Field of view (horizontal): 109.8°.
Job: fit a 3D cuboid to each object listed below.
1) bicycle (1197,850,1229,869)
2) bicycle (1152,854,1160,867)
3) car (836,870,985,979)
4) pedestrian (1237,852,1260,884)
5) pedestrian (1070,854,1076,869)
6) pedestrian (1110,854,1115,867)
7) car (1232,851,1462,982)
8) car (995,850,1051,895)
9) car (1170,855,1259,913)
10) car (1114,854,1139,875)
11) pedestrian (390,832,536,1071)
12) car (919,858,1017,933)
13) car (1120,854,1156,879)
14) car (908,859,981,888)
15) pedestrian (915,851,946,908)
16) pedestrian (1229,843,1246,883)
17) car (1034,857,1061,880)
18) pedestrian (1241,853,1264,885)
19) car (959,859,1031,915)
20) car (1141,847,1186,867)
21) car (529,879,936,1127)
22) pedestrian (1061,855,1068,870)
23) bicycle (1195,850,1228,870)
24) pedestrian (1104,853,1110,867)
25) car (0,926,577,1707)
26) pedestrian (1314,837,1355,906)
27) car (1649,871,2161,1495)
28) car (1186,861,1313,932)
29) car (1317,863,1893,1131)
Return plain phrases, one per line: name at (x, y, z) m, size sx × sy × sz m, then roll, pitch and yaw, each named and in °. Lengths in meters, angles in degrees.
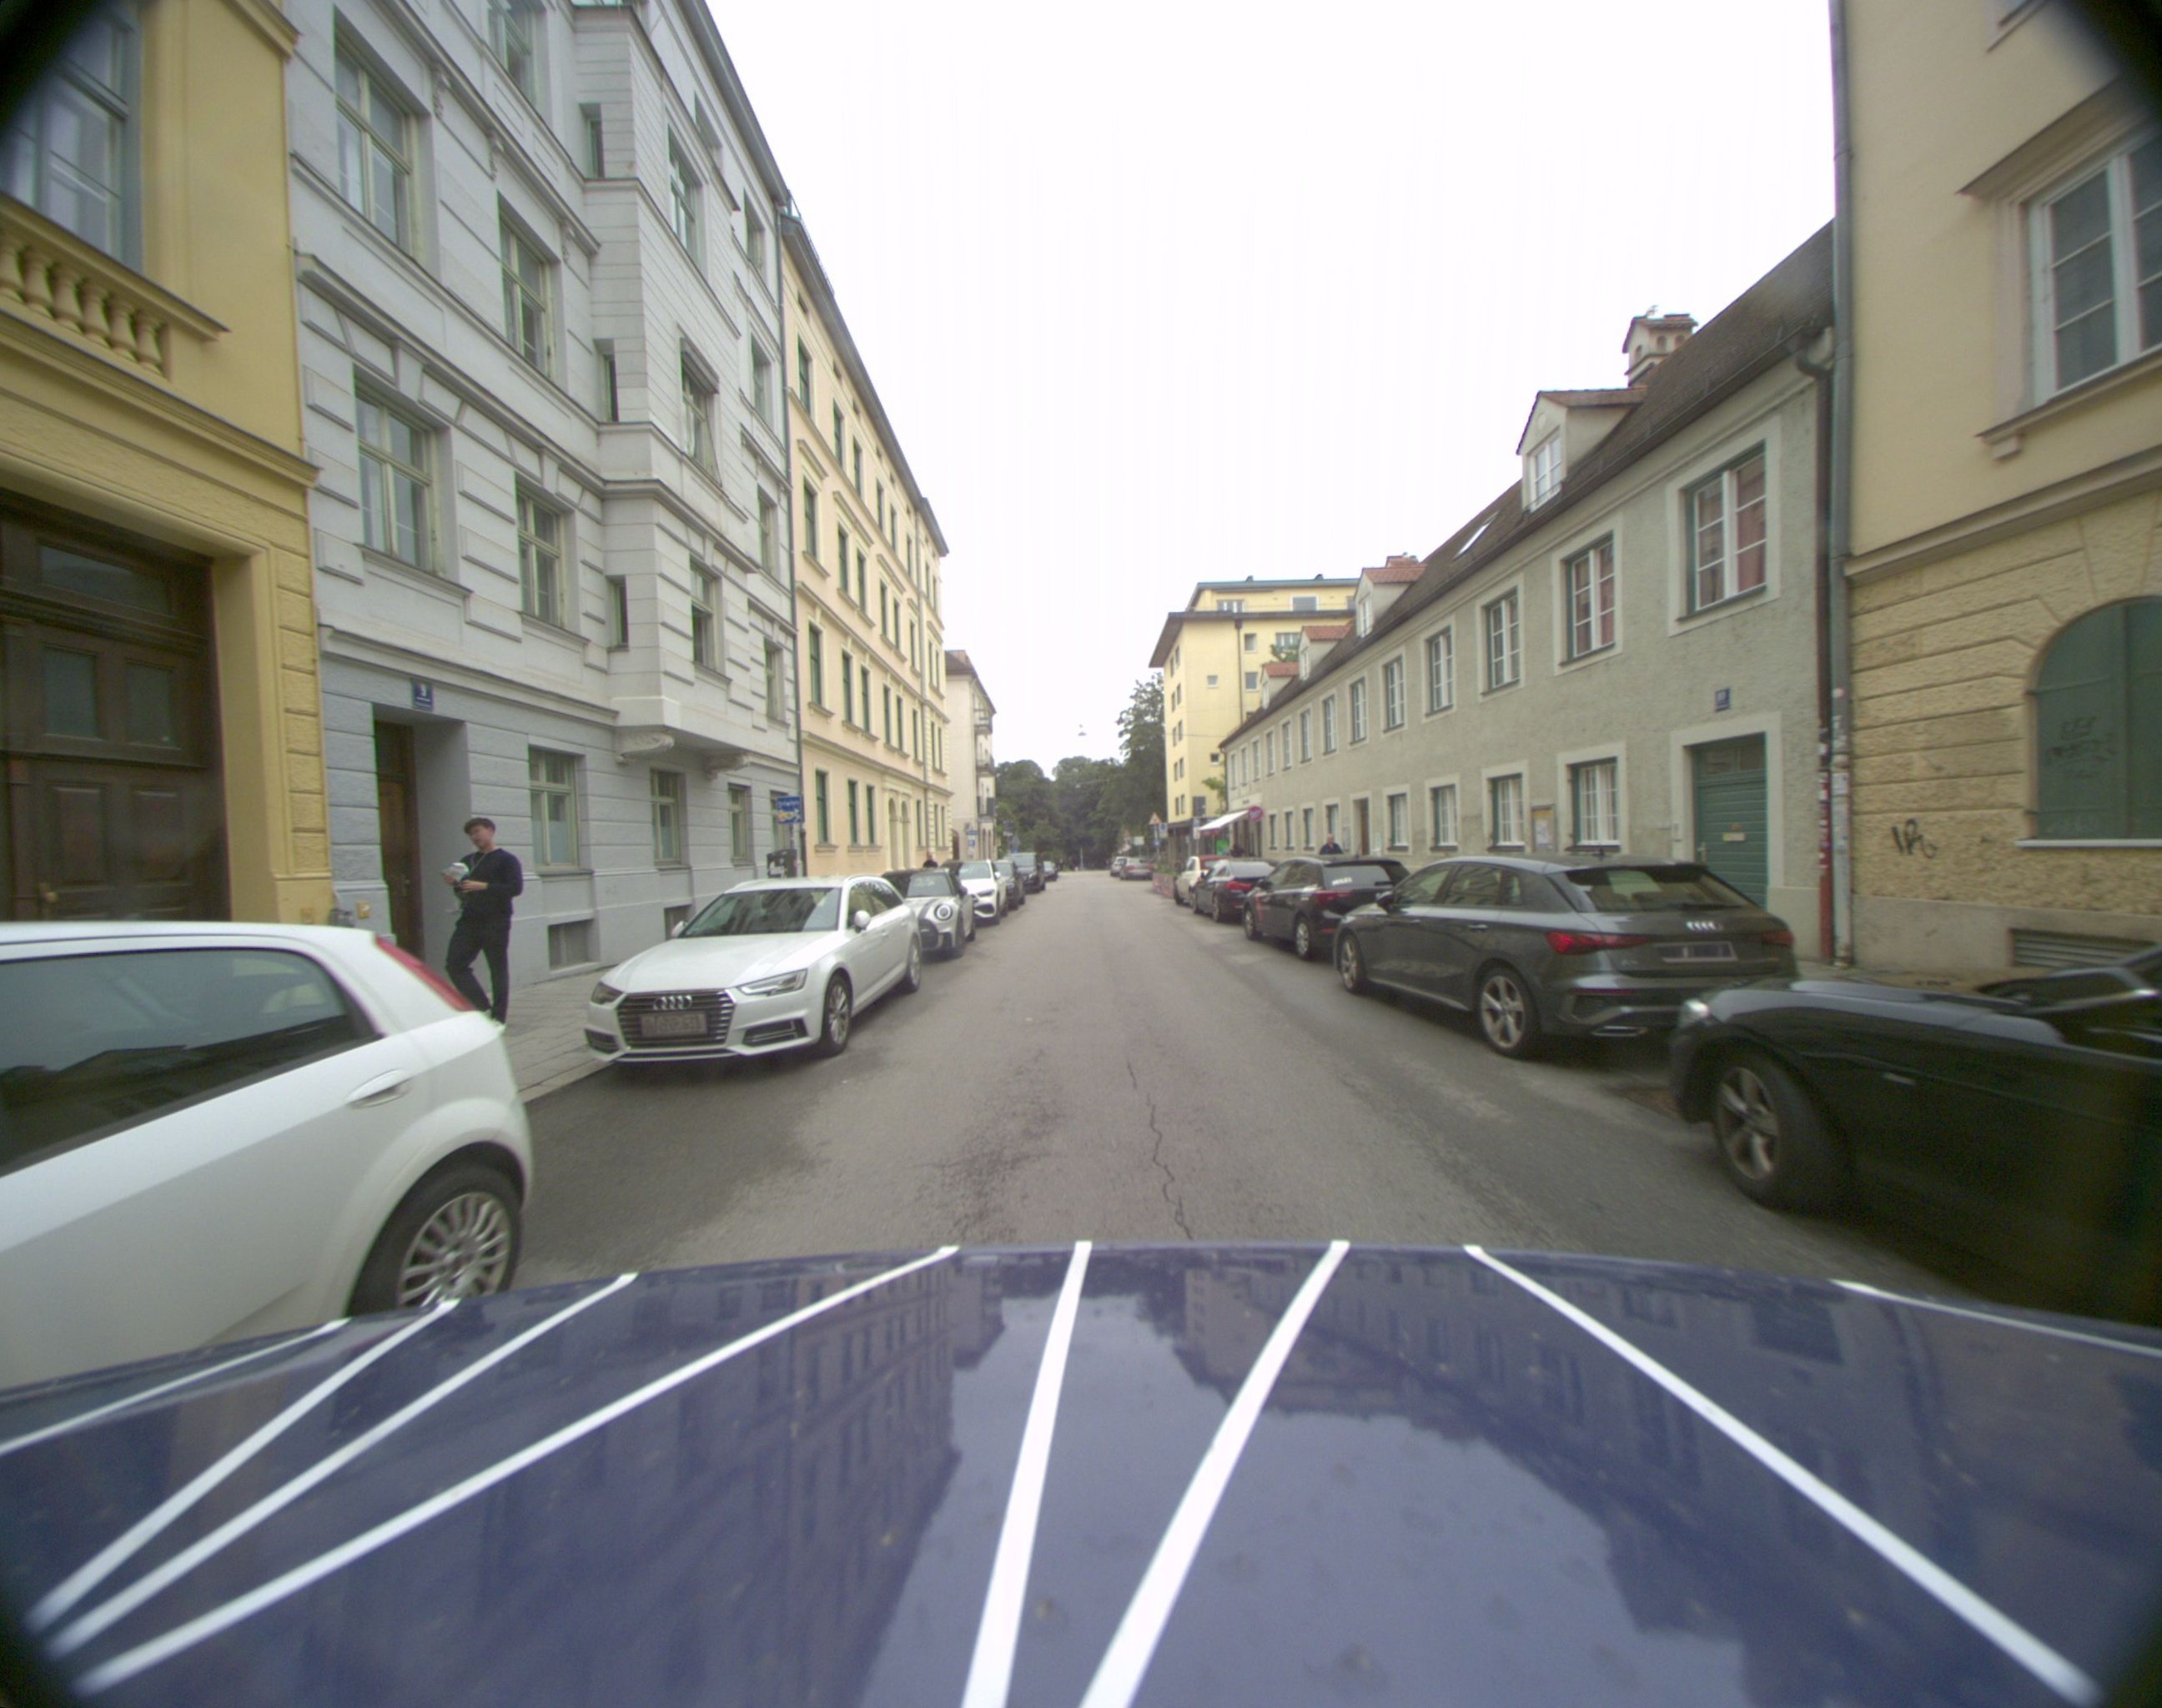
bicycle at (7.982, 0.333, 45.999) m, size 1.822 × 1.029 × 0.392 m, roll -4°, pitch 0°, yaw 3°
bicycle at (7.222, 0.623, 73.004) m, size 0.563 × 1.203 × 1.854 m, roll -3°, pitch 1°, yaw 3°
car at (-2.740, 1.068, 13.170) m, size 1.713 × 1.396 × 4.206 m, roll -3°, pitch 1°, yaw -2°
pedestrian at (7.149, 0.591, 32.385) m, size 0.805 × 1.283 × 0.693 m, roll -2°, pitch 2°, yaw 0°
pedestrian at (-0.906, 0.879, 87.426) m, size 0.639 × 1.662 × 0.774 m, roll -4°, pitch -2°, yaw 1°
pedestrian at (4.350, 0.854, 105.410) m, size 0.634 × 1.770 × 0.801 m, roll -1°, pitch -1°, yaw 0°
car at (3.662, 0.750, 11.327) m, size 1.759 × 1.487 × 4.199 m, roll -3°, pitch 1°, yaw -2°
car at (-2.622, 0.792, 35.820) m, size 2.002 × 1.853 × 5.253 m, roll -3°, pitch 0°, yaw 2°
car at (3.889, 0.822, 22.694) m, size 1.759 × 1.466 × 3.712 m, roll -3°, pitch 0°, yaw -3°
car at (3.696, 0.856, 61.965) m, size 1.807 × 1.574 × 4.338 m, roll -1°, pitch -1°, yaw 0°
pedestrian at (-5.354, 0.802, 6.630) m, size 0.671 × 1.969 × 0.708 m, roll 1°, pitch 2°, yaw 1°
car at (-2.750, 0.961, 19.487) m, size 1.747 × 1.574 × 4.466 m, roll -2°, pitch 1°, yaw 0°
car at (3.592, 0.753, 48.527) m, size 1.683 × 1.463 × 4.949 m, roll -1°, pitch 0°, yaw -2°
car at (-8.203, 1.156, 45.921) m, size 4.099 × 1.595 × 1.755 m, roll -2°, pitch -1°, yaw -1°
pedestrian at (-4.683, 0.775, 23.699) m, size 0.721 × 1.707 × 1.003 m, roll -2°, pitch 2°, yaw -1°
pedestrian at (7.064, 0.409, 34.327) m, size 0.530 × 1.772 × 0.877 m, roll -2°, pitch 2°, yaw 0°
car at (-2.354, 1.018, 53.785) m, size 1.680 × 1.416 × 4.203 m, roll -5°, pitch 0°, yaw -2°
pedestrian at (7.137, 0.626, 31.662) m, size 0.805 × 1.283 × 0.693 m, roll -2°, pitch 2°, yaw 0°
car at (-2.666, 0.978, 24.472) m, size 1.759 × 1.512 × 4.274 m, roll -2°, pitch 1°, yaw 0°
car at (8.876, 0.317, 81.782) m, size 4.422 × 1.990 × 1.933 m, roll -2°, pitch 2°, yaw -15°
car at (-2.808, 1.087, 7.529) m, size 1.712 × 1.400 × 4.814 m, roll -2°, pitch 1°, yaw 0°
pedestrian at (-1.926, 0.964, 87.305) m, size 0.686 × 1.662 × 0.774 m, roll -4°, pitch -2°, yaw 1°
bicycle at (7.803, 0.349, 45.380) m, size 1.822 × 1.029 × 0.392 m, roll -4°, pitch 0°, yaw 3°
pedestrian at (3.627, 0.870, 105.424) m, size 0.707 × 1.892 × 0.804 m, roll -1°, pitch -1°, yaw 0°
car at (-2.824, 1.060, 0.931) m, size 1.712 × 1.446 × 4.095 m, roll -3°, pitch 1°, yaw -2°
pedestrian at (7.164, 0.476, 21.499) m, size 0.825 × 1.887 × 0.827 m, roll -2°, pitch 2°, yaw -1°
car at (3.498, 0.833, 1.392) m, size 1.759 × 1.401 × 4.102 m, roll -2°, pitch 1°, yaw -1°
car at (3.731, 0.878, 17.667) m, size 1.803 × 1.331 × 4.685 m, roll -2°, pitch 0°, yaw -1°
car at (3.651, 0.830, 6.390) m, size 1.821 × 1.433 × 4.130 m, roll -1°, pitch 0°, yaw -4°
